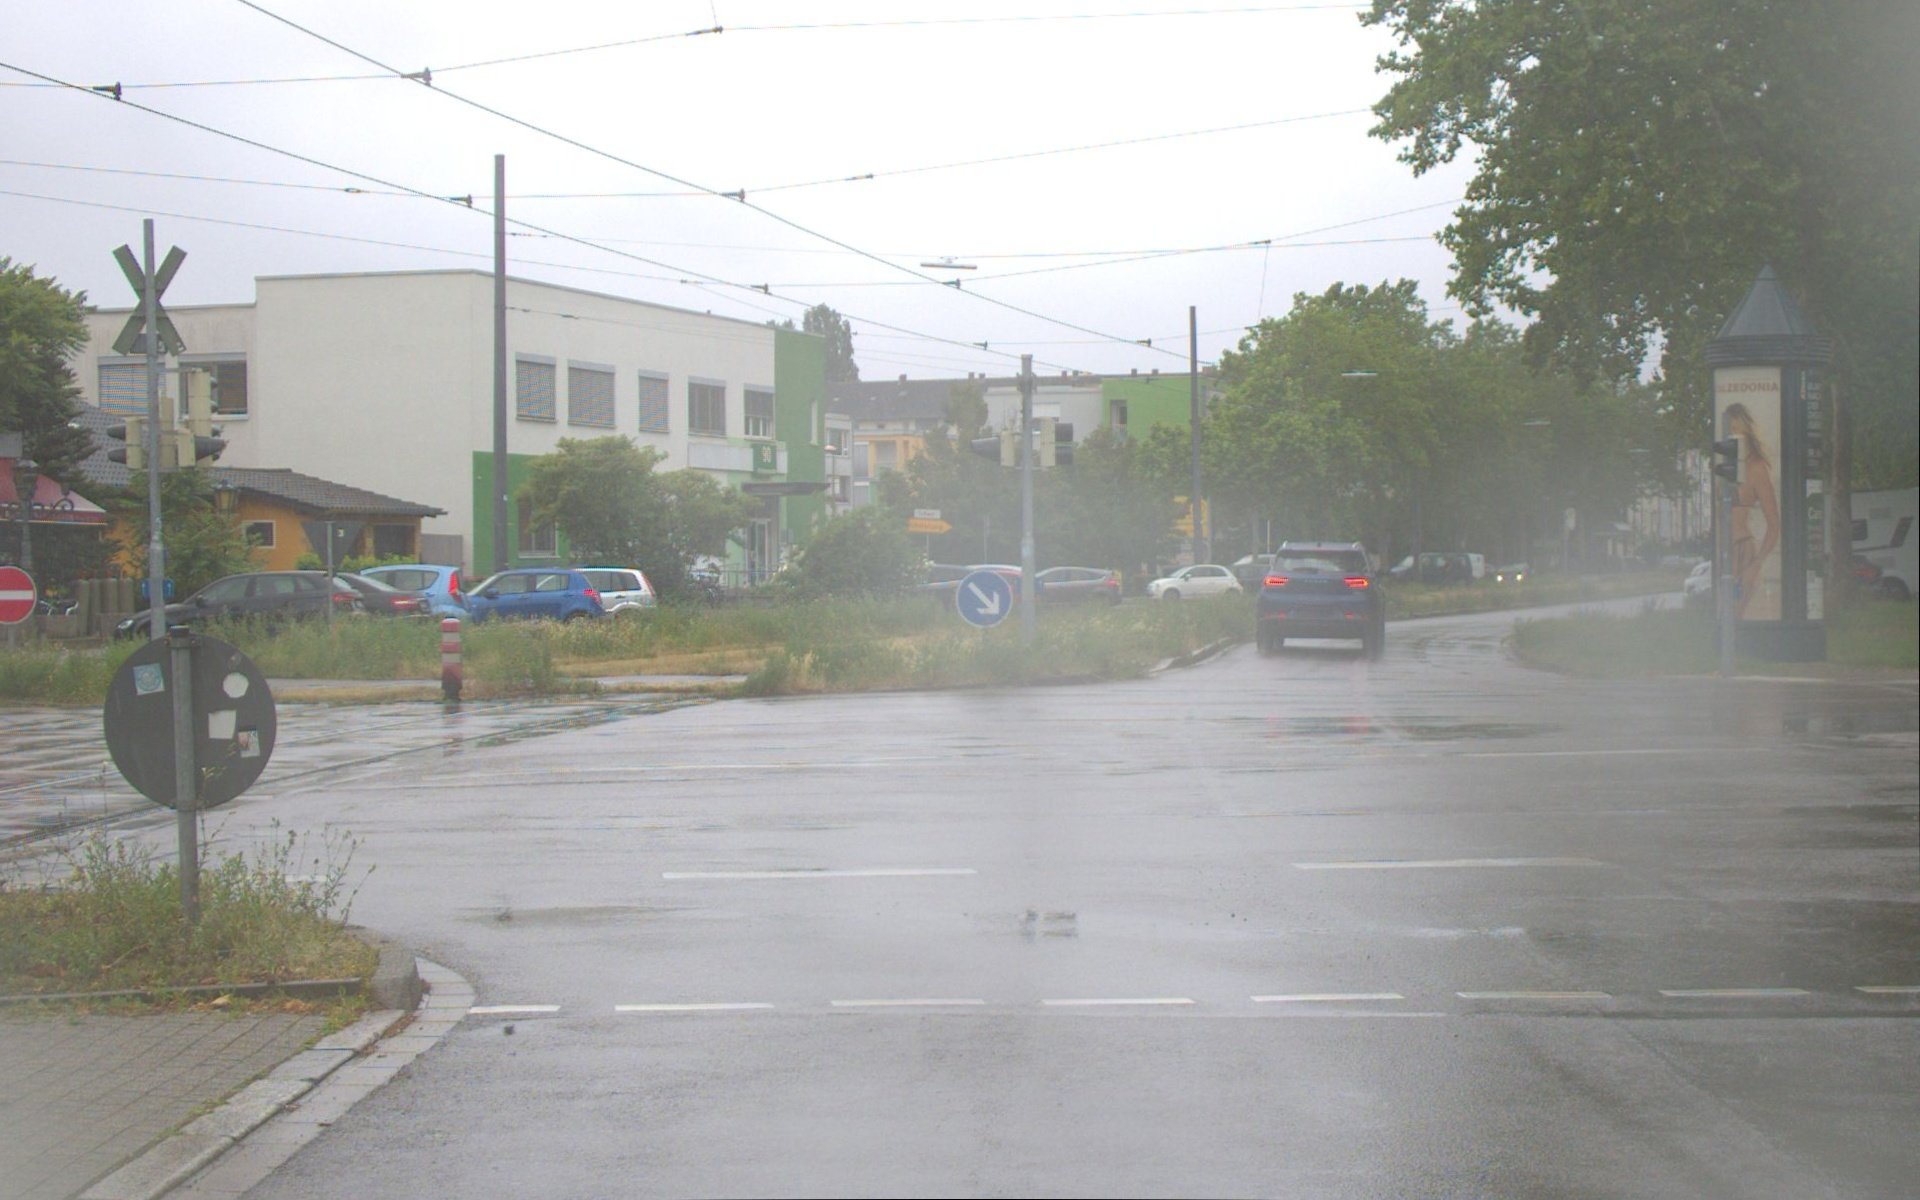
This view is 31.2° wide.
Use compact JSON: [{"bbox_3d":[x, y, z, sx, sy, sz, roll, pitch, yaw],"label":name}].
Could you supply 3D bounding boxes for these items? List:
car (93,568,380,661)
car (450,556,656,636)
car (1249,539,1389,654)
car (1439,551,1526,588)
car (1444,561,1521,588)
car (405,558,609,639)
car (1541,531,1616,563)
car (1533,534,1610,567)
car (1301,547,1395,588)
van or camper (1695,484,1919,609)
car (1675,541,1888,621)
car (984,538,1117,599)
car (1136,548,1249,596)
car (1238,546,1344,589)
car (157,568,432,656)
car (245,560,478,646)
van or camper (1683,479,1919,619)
[{"bbox_3d":[-12.386,0.233,59.002,4.477,1.413,1.858,-2,0,1],"label":"car"},{"bbox_3d":[-8.643,-0.089,72.925,4.107,1.635,1.930,-1,0,-14],"label":"car"},{"bbox_3d":[5.451,-0.070,52.579,1.806,1.680,3.911,1,1,1],"label":"car"},{"bbox_3d":[26.414,-1.538,173.855,3.986,1.826,2.000,1,0,-5],"label":"car"},{"bbox_3d":[27.818,-1.358,183.053,3.887,1.349,1.762,1,0,3],"label":"car"},{"bbox_3d":[-9.221,-0.044,69.801,3.986,1.576,1.930,0,0,-11],"label":"car"},{"bbox_3d":[36.582,-3.130,203.423,3.986,1.826,2.000,1,0,-5],"label":"car"},{"bbox_3d":[35.334,-2.868,198.692,3.986,1.826,2.000,1,0,-5],"label":"car"},{"bbox_3d":[17.908,-1.507,158.926,3.986,1.826,2.000,1,0,-5],"label":"car"},{"bbox_3d":[23.240,-1.386,89.694,7.434,3.167,3.259,1,1,22],"label":"van or camper"},{"bbox_3d":[18.544,-0.441,77.577,4.449,1.711,1.998,1,1,21],"label":"car"},{"bbox_3d":[2.891,-1.013,110.163,3.986,1.881,2.000,1,0,-7],"label":"car"},{"bbox_3d":[8.552,-1.019,126.579,3.773,1.697,1.837,1,0,-10],"label":"car"},{"bbox_3d":[13.948,-1.385,144.893,3.986,1.752,2.011,1,0,-11],"label":"car"},{"bbox_3d":[-11.846,0.199,61.410,4.497,1.413,1.858,-2,0,1],"label":"car"},{"bbox_3d":[-11.250,0.050,64.798,3.987,1.576,1.858,0,0,4],"label":"car"},{"bbox_3d":[20.855,-1.177,80.487,7.328,3.167,3.259,1,1,18],"label":"van or camper"}]
